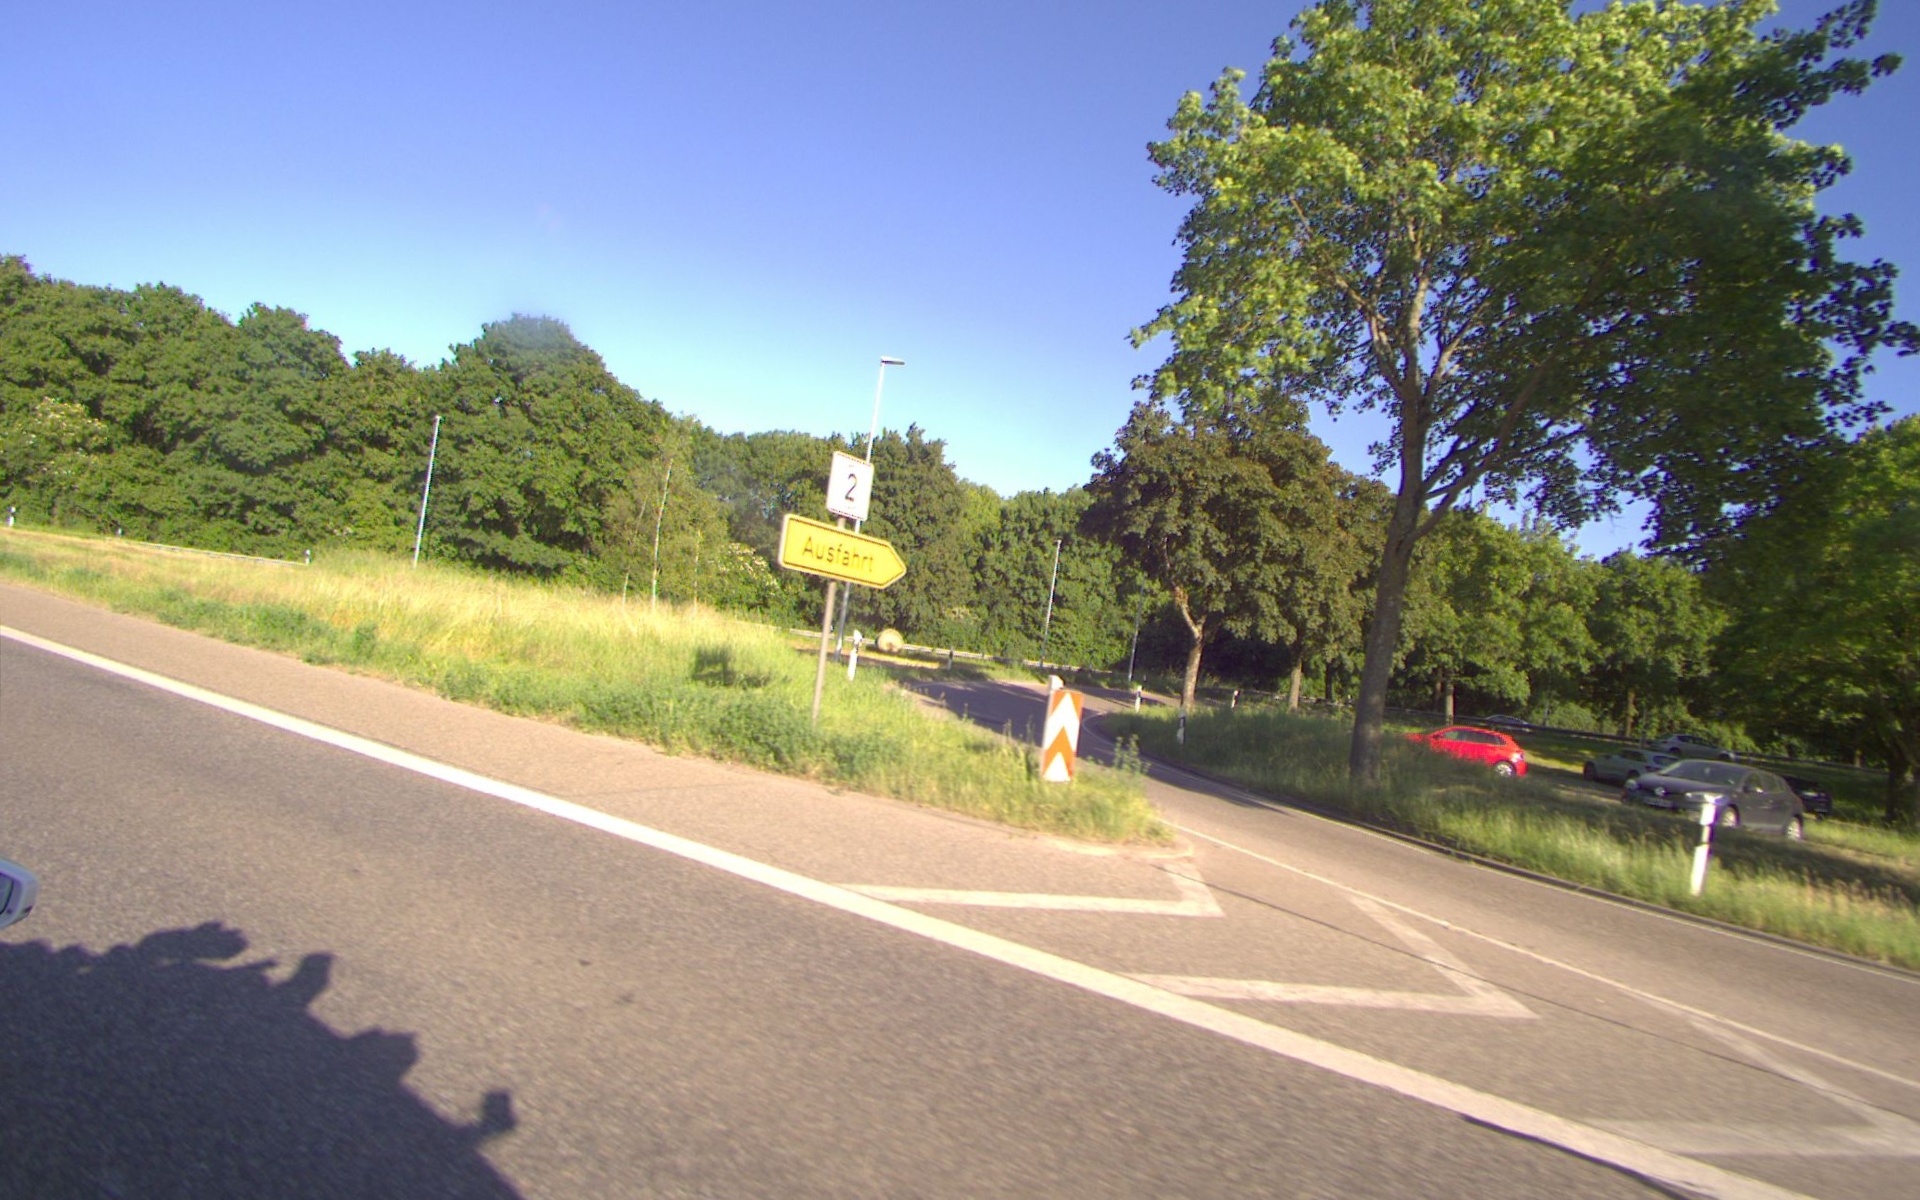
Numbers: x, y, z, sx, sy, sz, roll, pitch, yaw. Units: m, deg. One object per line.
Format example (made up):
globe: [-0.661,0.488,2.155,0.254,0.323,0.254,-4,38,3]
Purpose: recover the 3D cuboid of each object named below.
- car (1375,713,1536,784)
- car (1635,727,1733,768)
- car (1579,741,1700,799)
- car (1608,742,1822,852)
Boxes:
car: [15.267,4.562,31.185,4.070,1.479,1.706,7,-3,14]
car: [40.928,8.320,56.934,3.924,1.594,1.912,8,-2,13]
car: [27.016,6.729,40.164,1.755,1.577,4.231,8,-3,-1]
car: [15.103,3.939,20.087,4.183,1.575,1.777,11,-5,-28]
